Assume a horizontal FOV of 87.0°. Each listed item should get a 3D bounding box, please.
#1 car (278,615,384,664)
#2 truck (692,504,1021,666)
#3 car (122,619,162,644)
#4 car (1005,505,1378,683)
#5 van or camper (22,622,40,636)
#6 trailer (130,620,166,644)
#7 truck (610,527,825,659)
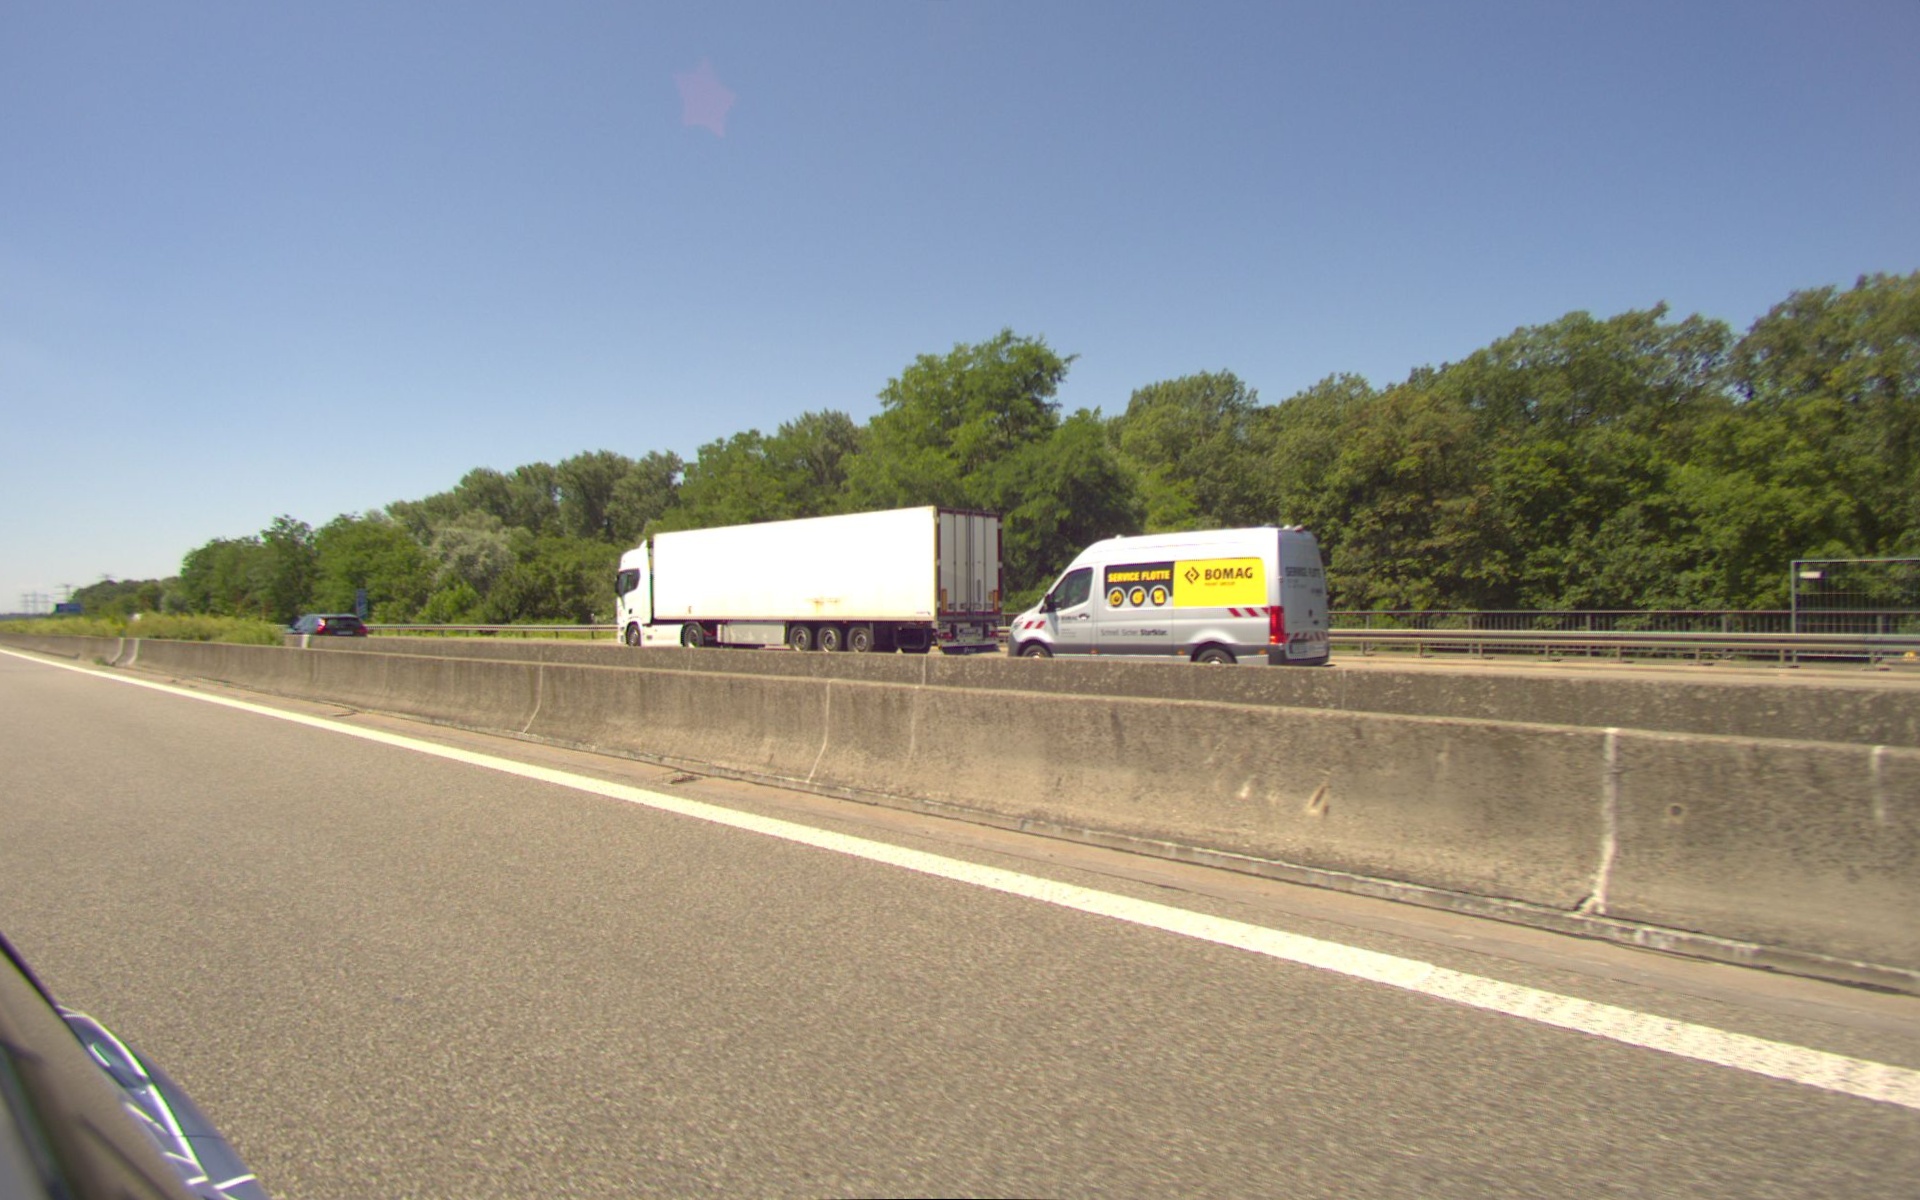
[{"bbox_3d":[-23.174,1.422,37.206,5.013,1.640,1.973,-1,-1,41],"label":"car"},{"bbox_3d":[-3.491,-0.233,29.912,11.148,4.007,3.016,-2,-1,43],"label":"truck"},{"bbox_3d":[-72.124,2.758,89.218,4.971,2.098,2.101,-2,-1,43],"label":"car"},{"bbox_3d":[3.773,-0.036,17.567,6.127,2.588,1.972,-1,-1,42],"label":"car"},{"bbox_3d":[-165.572,5.193,180.393,2.224,2.405,6.764,0,-2,-44],"label":"van or camper"},{"bbox_3d":[-69.838,2.747,87.048,2.369,2.041,2.080,-2,-1,42],"label":"trailer"},{"bbox_3d":[-8.460,-0.115,34.533,8.287,4.007,3.016,-2,-1,43],"label":"truck"}]
